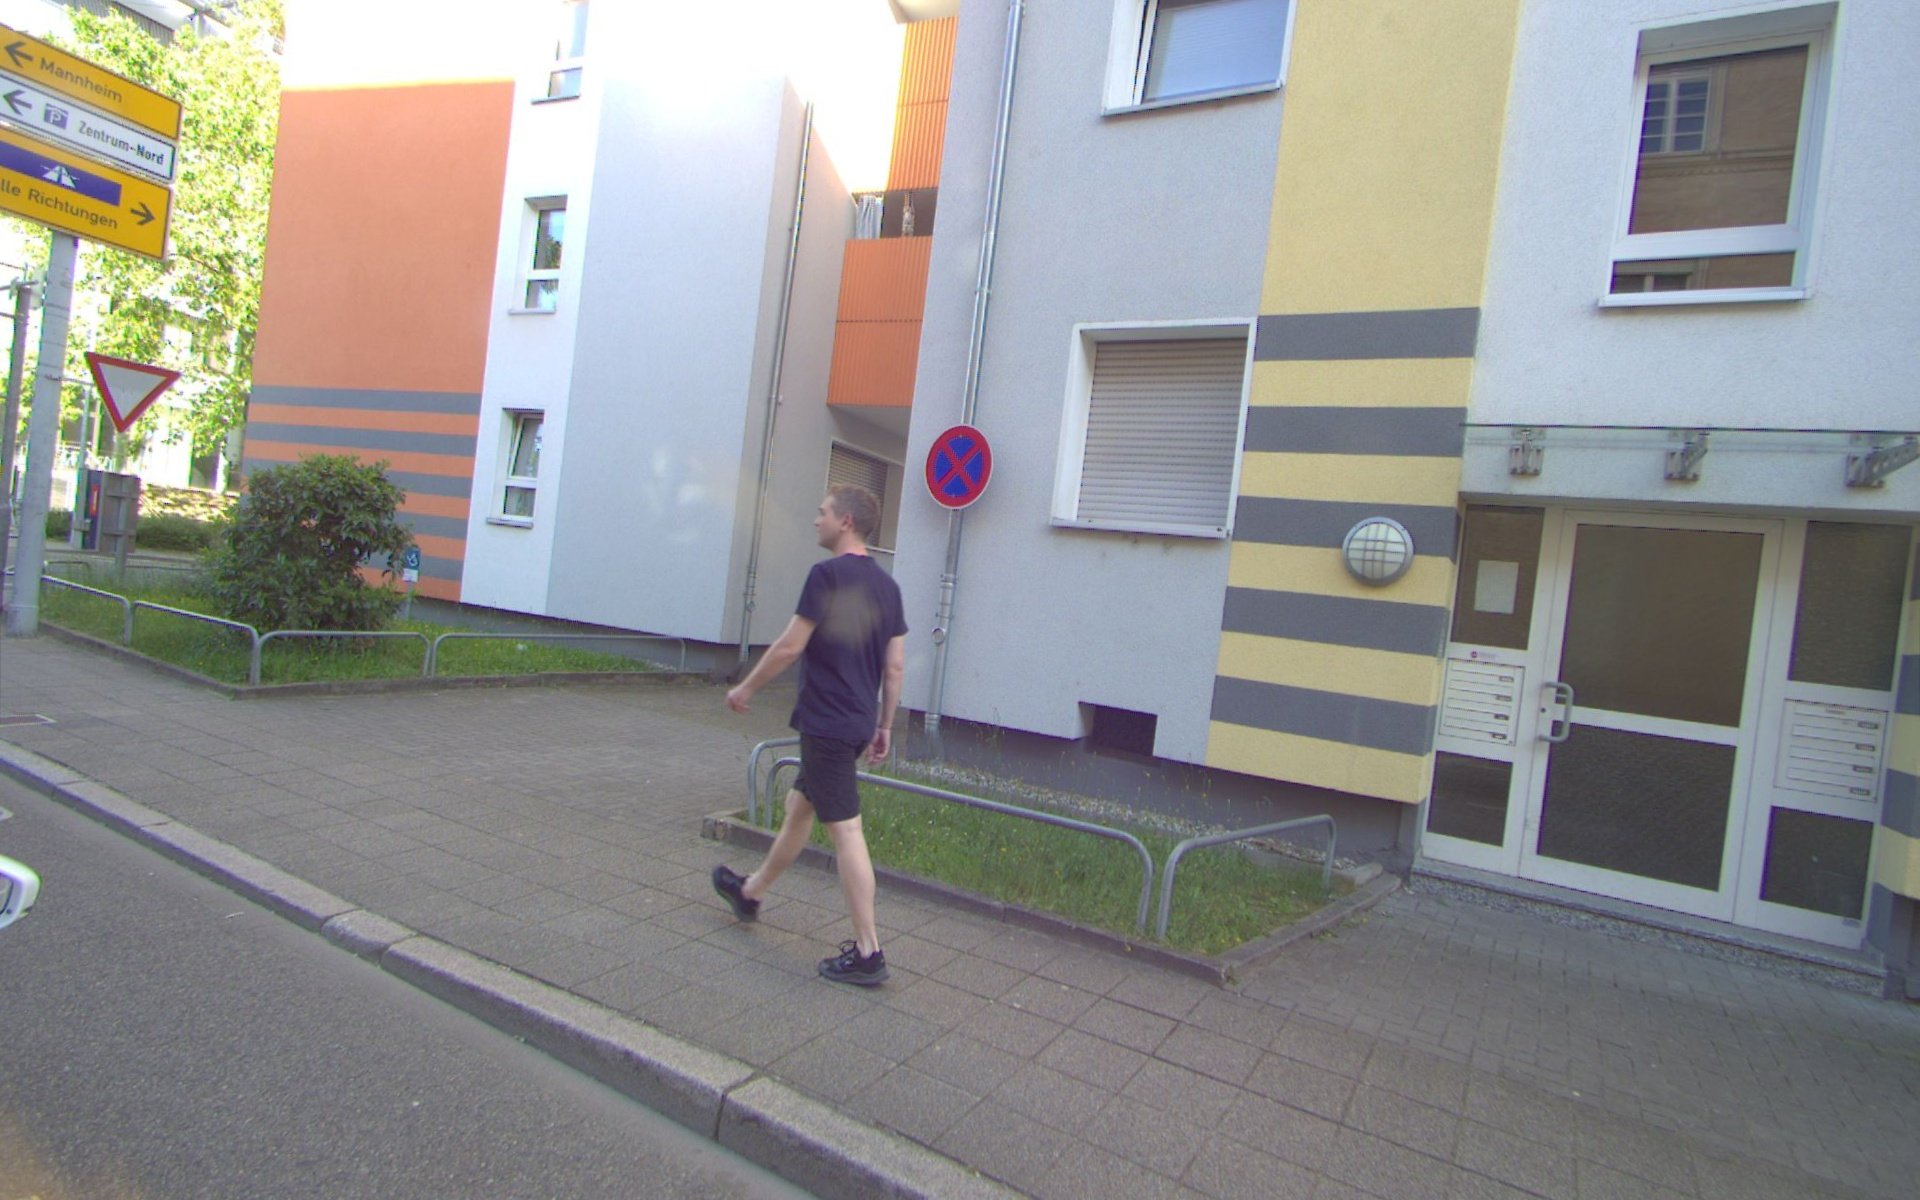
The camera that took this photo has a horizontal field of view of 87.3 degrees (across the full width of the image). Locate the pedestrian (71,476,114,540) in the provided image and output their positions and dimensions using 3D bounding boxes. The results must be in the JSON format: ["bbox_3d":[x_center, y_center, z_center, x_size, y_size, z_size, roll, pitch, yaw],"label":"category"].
[{"bbox_3d":[-26.934,-2.843,31.235,1.022,1.854,0.538,7,1,26],"label":"pedestrian"}]

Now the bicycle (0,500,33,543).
[{"bbox_3d":[-26.433,-2.214,27.288,1.883,1.062,0.463,7,1,-10],"label":"bicycle"}]

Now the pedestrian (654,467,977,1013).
[{"bbox_3d":[-0.562,0.453,3.859,0.901,1.813,0.643,7,4,35],"label":"pedestrian"}]
